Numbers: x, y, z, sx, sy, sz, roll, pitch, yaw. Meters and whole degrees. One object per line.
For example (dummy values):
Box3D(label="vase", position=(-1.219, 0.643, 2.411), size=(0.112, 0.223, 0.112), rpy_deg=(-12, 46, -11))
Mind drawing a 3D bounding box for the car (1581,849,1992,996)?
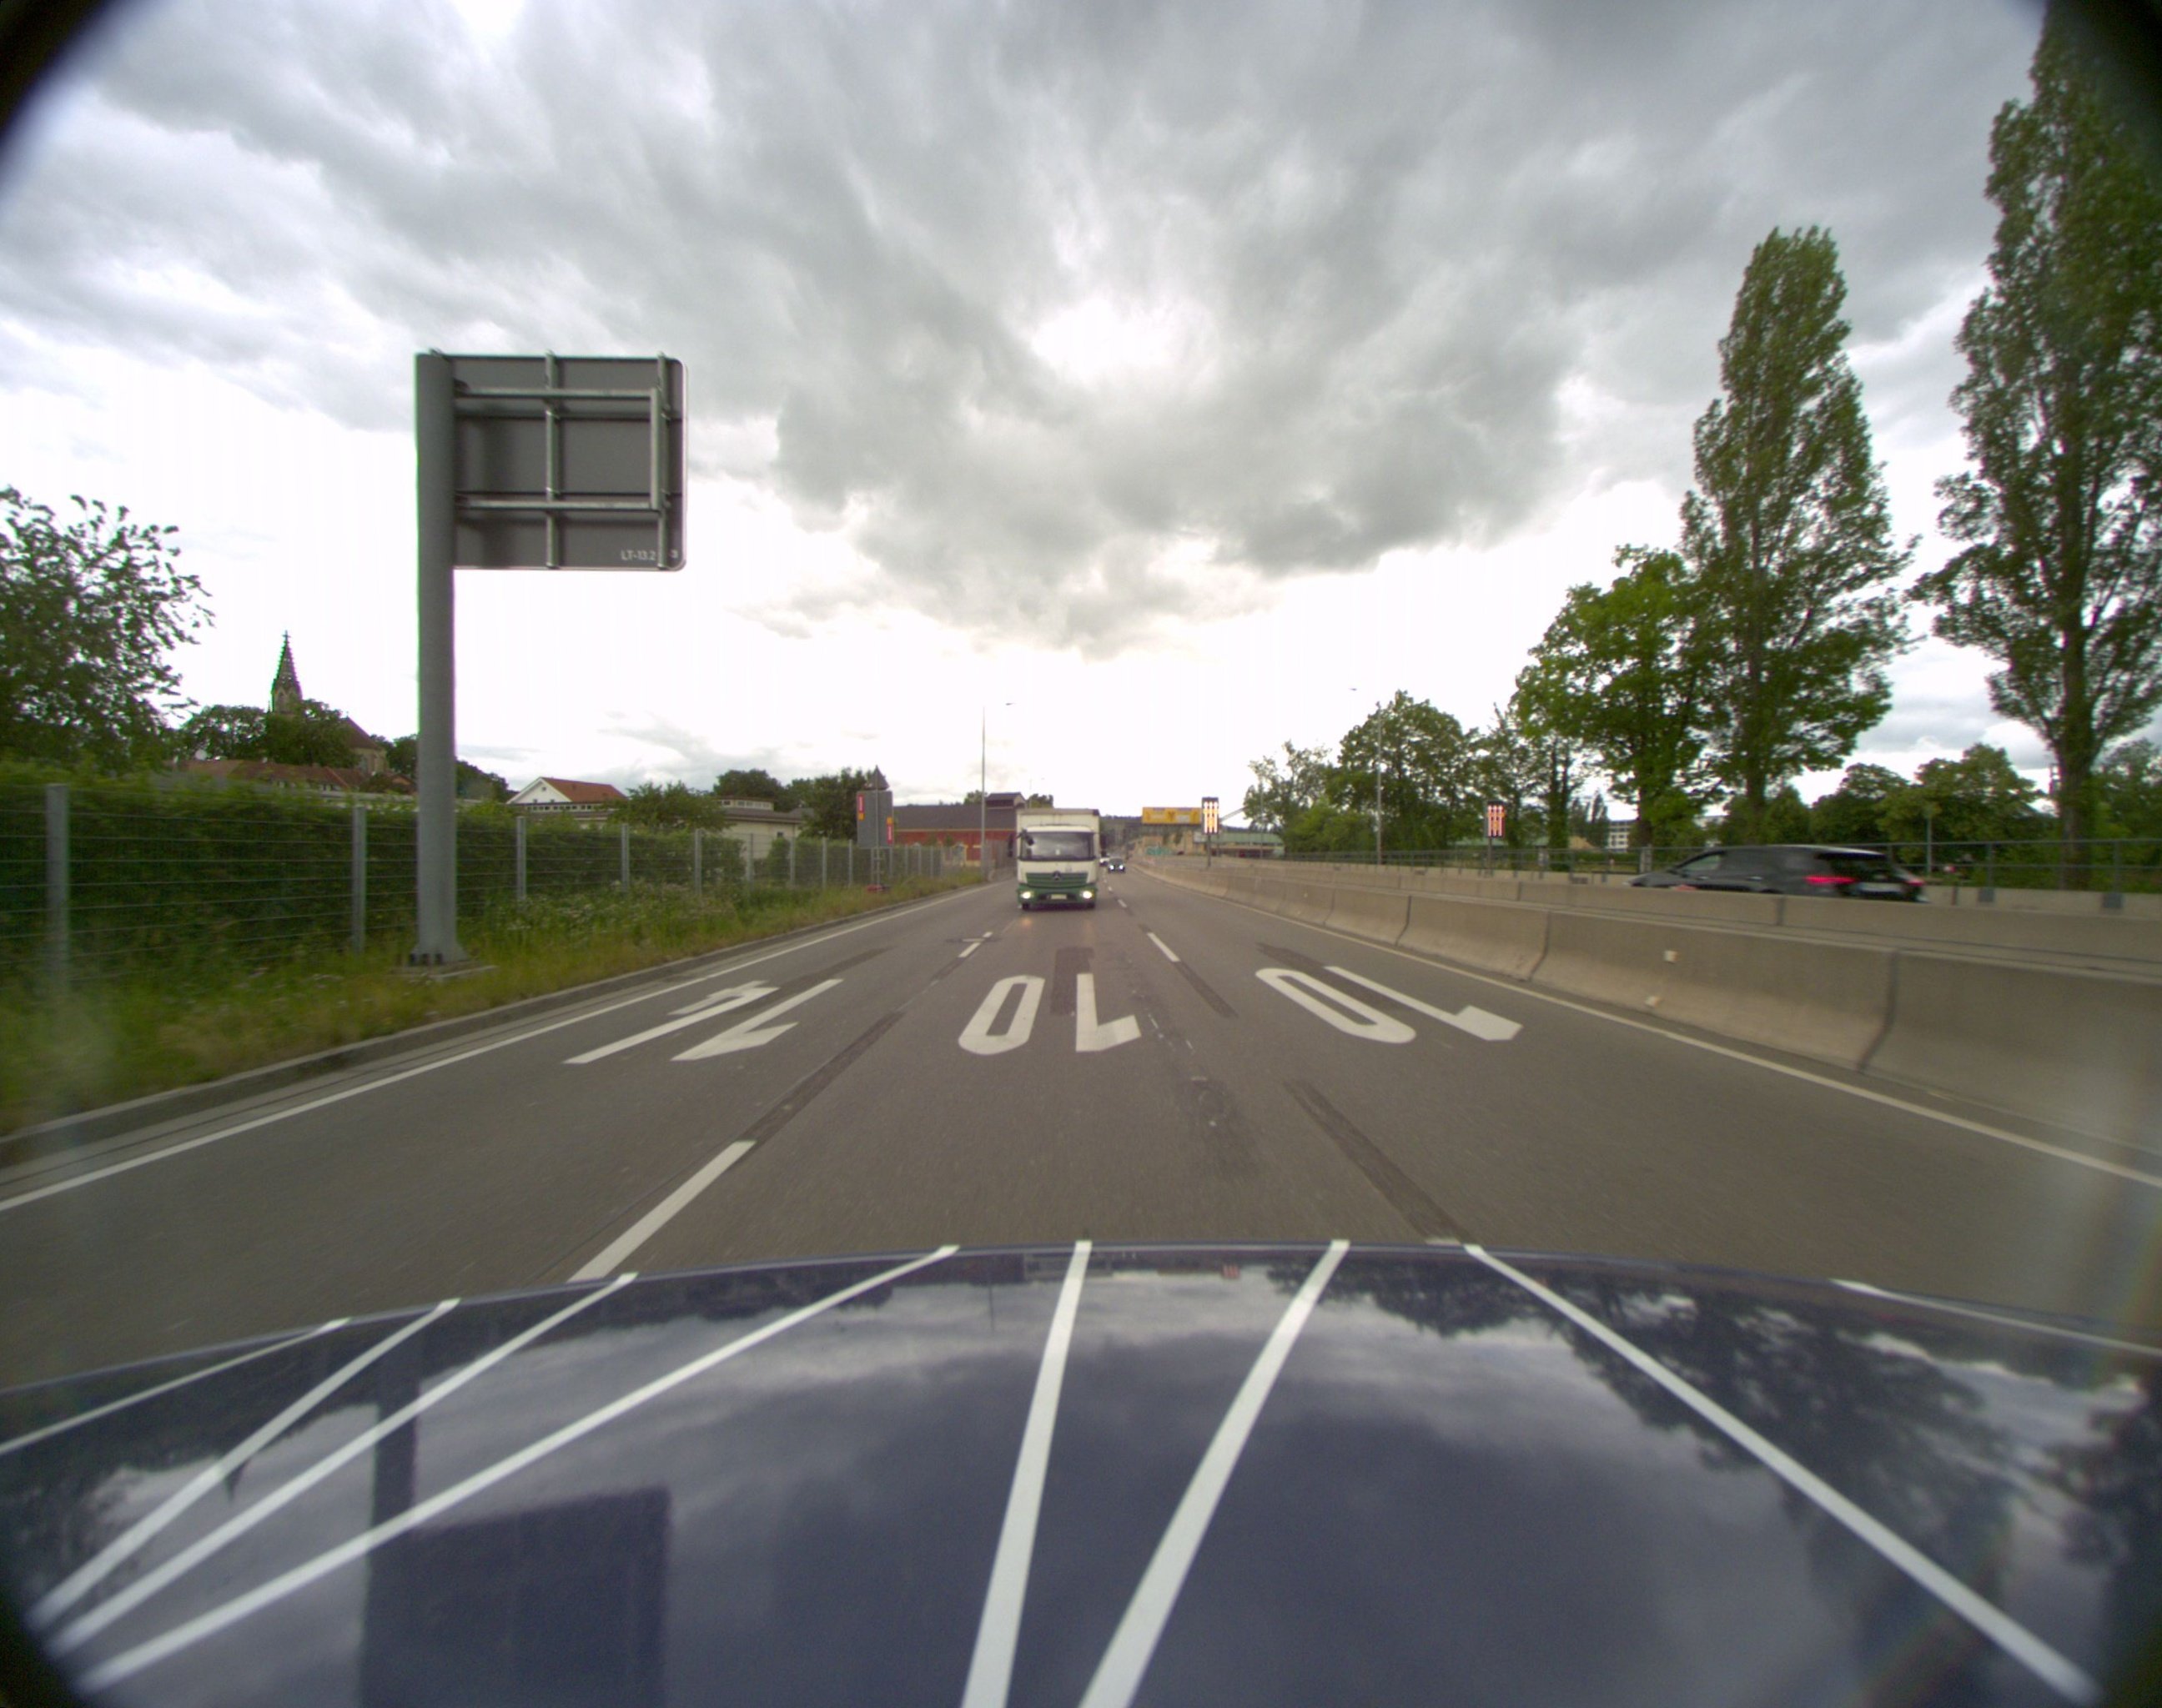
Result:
Box3D(label="car", position=(11.308, 0.927, 12.902), size=(2.335, 1.914, 5.002), rpy_deg=(-2, 1, 1))

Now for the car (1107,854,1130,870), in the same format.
Box3D(label="car", position=(3.606, 0.740, 73.859), size=(1.998, 1.444, 4.000), rpy_deg=(-2, 0, 0))

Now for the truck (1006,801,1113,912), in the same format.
Box3D(label="truck", position=(-0.680, 0.045, 25.760), size=(2.943, 3.065, 8.385), rpy_deg=(-2, 0, -1))

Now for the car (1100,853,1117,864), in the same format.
Box3D(label="car", position=(4.080, 0.690, 113.393), size=(2.000, 1.444, 3.997), rpy_deg=(-2, 1, -7))
